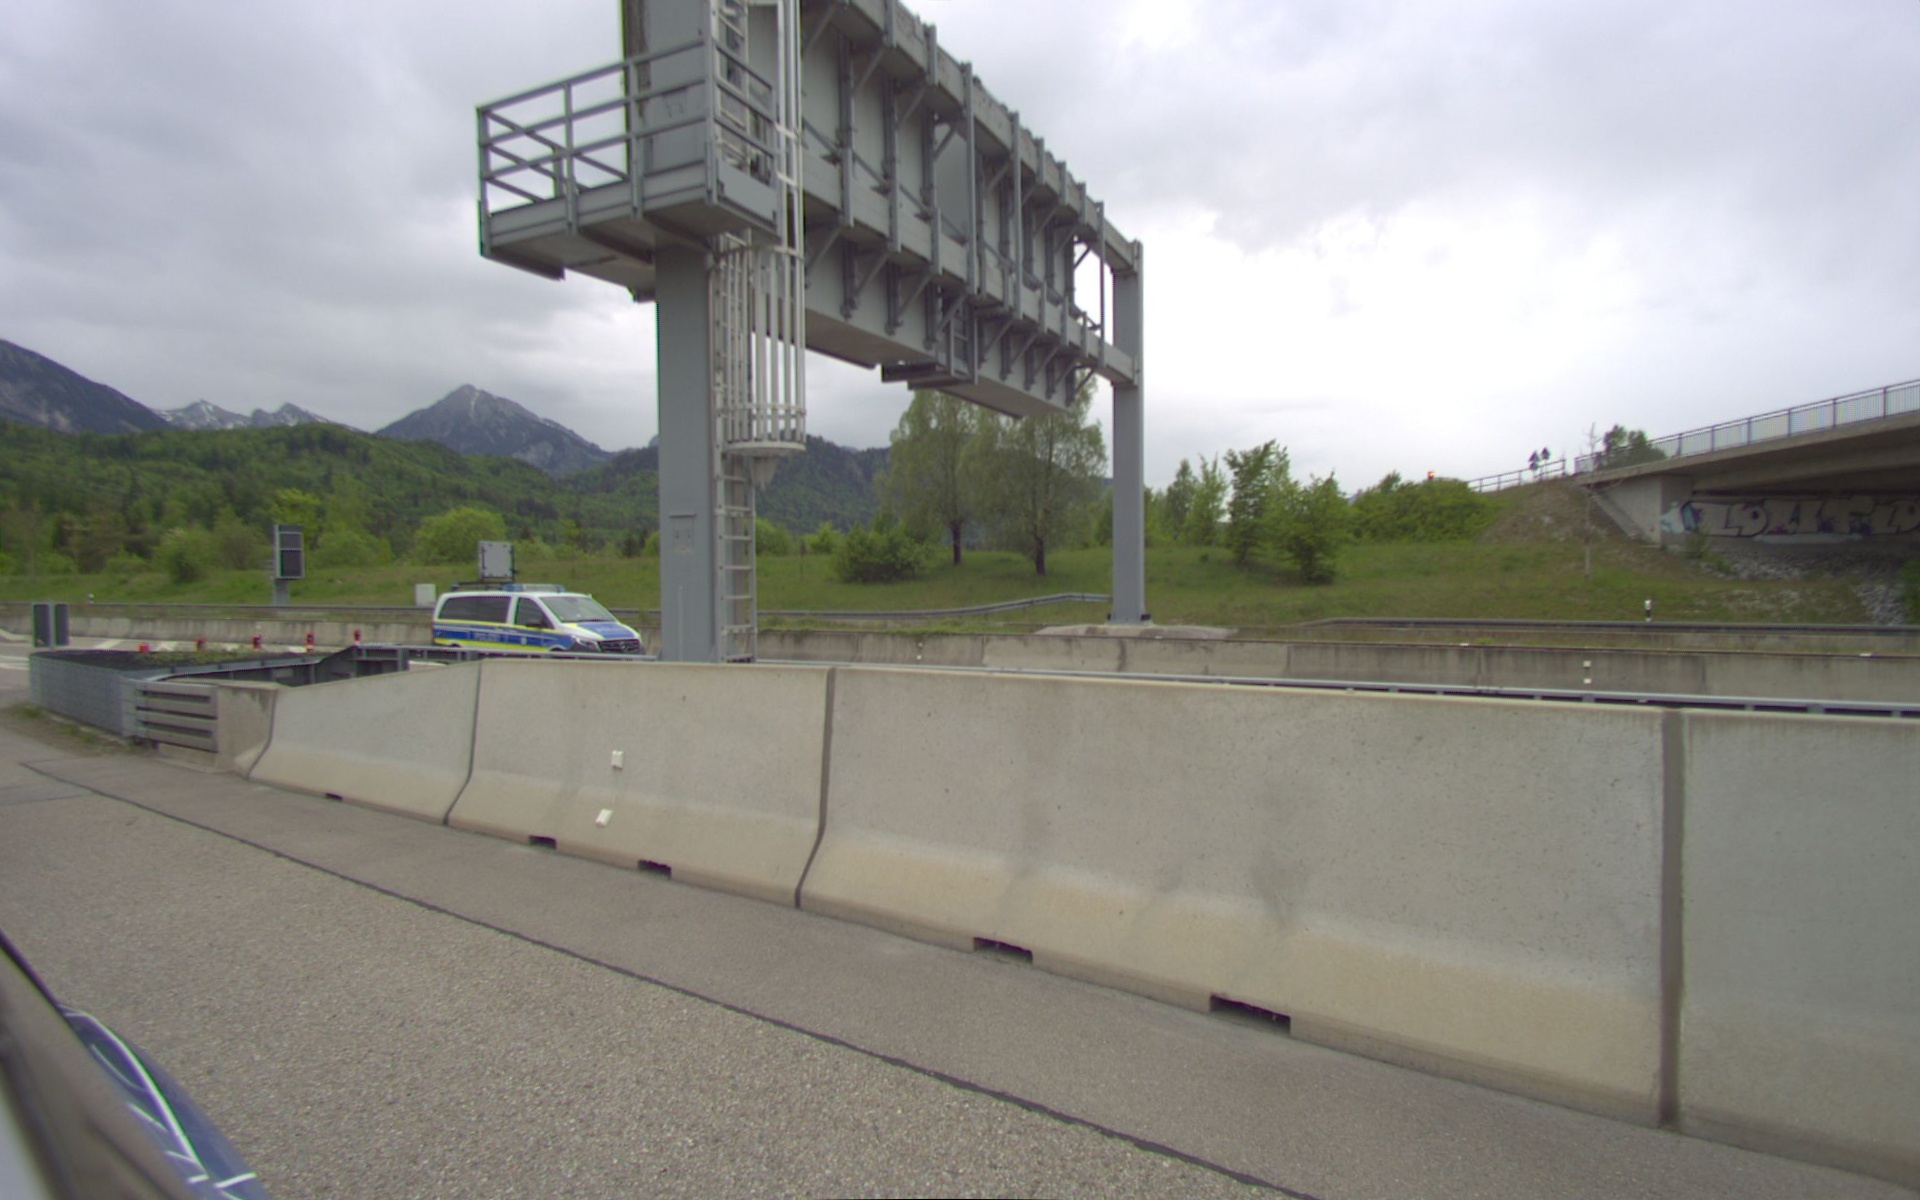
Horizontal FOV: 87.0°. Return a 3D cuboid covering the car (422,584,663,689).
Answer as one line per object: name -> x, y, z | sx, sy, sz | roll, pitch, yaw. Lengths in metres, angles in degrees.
car -> -8.999, 0.724, 21.739 | 5.028, 2.029, 2.085 | 0, -1, 28
